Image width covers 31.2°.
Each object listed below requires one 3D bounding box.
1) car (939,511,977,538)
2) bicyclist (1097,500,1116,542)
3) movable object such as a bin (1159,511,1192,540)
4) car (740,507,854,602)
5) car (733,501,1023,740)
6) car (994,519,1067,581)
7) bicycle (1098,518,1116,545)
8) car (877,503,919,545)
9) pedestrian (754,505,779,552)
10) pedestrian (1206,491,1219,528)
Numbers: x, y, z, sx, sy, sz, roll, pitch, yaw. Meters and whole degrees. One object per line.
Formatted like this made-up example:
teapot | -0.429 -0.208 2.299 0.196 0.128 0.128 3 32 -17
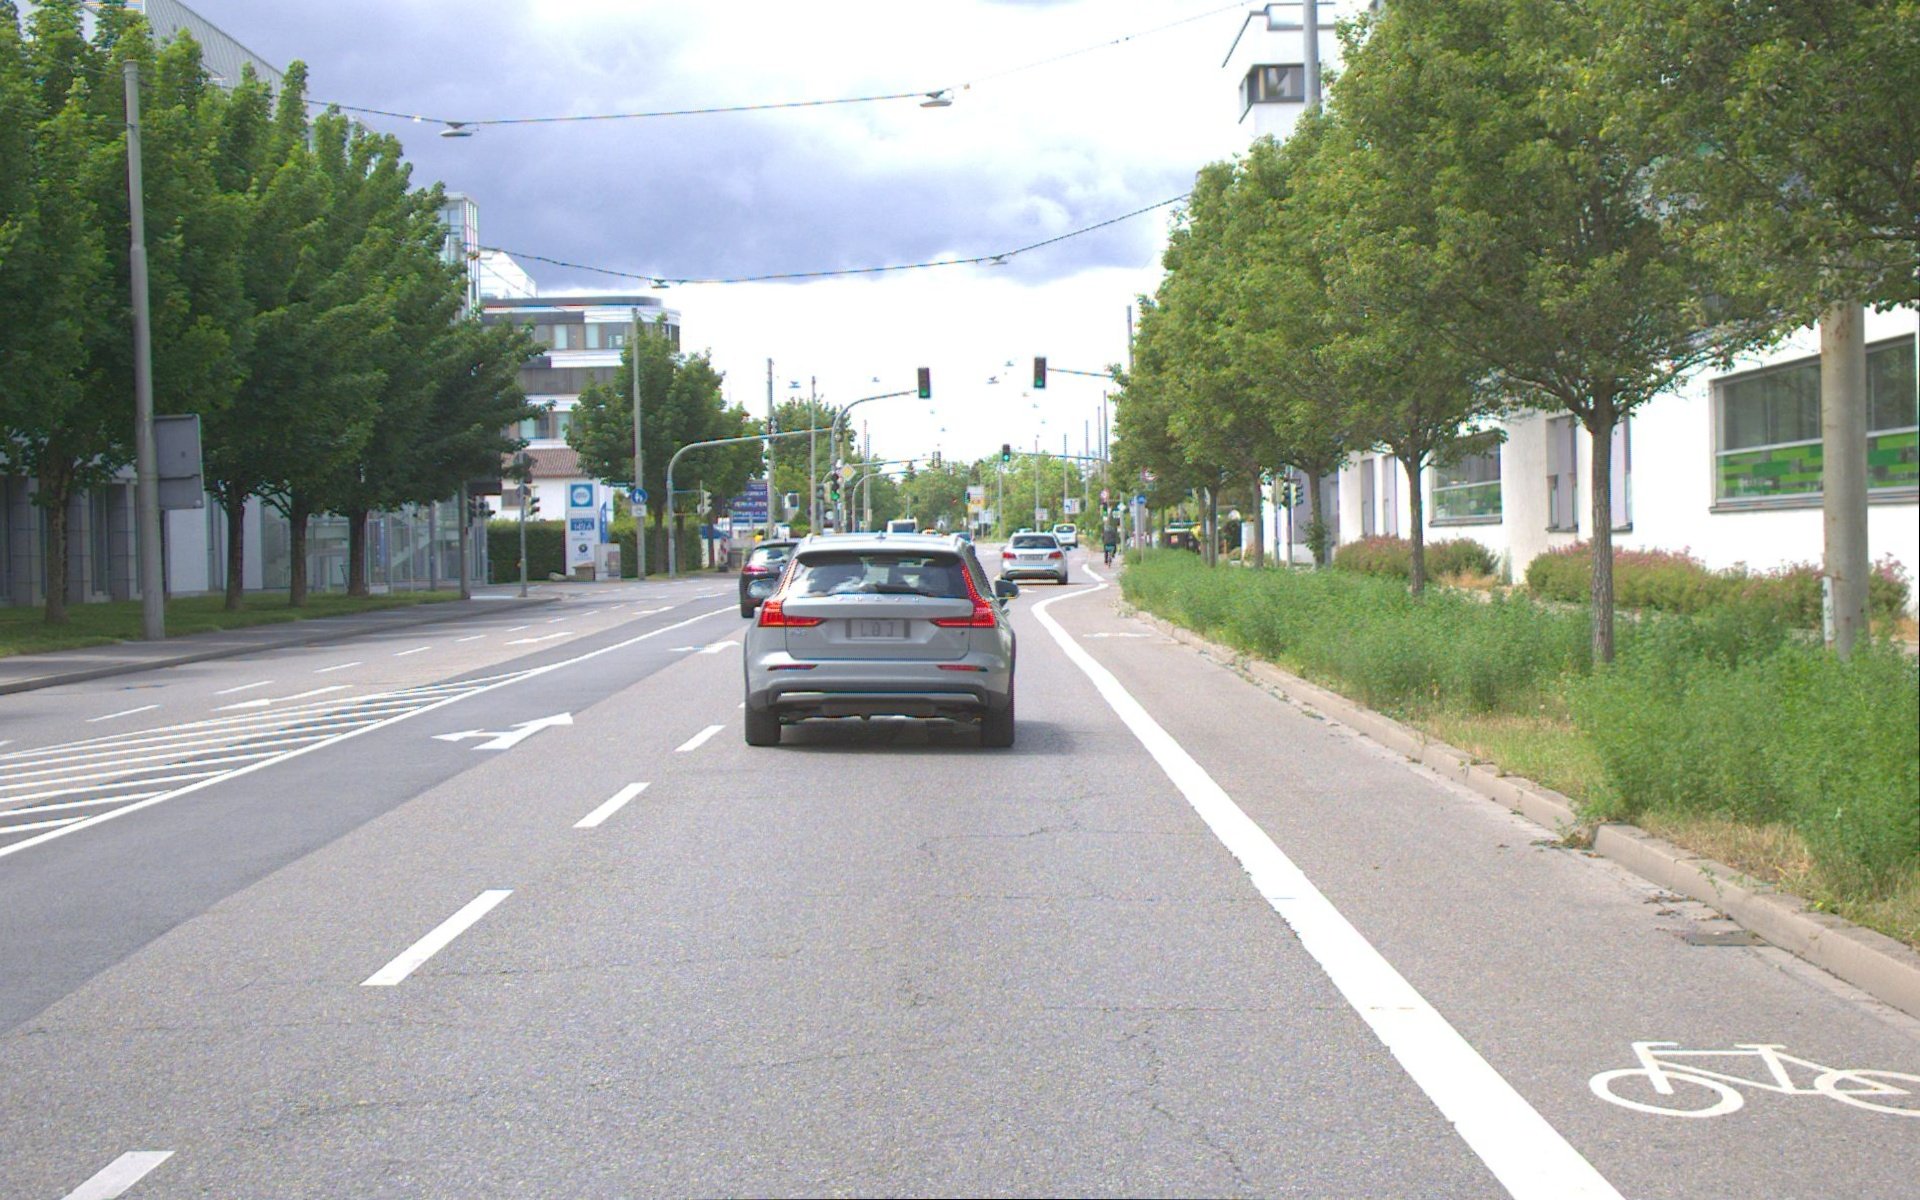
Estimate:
car | -0.101 -4.587 209.171 1.885 1.547 4.539 -2 0 4
bicyclist | 6.088 -3.287 143.000 0.638 1.669 0.890 -5 1 2
movable object such as a bin | 10.546 -3.635 168.188 1.320 1.356 1.250 -1 0 18
car | -3.030 -0.848 64.618 1.993 1.711 4.000 1 1 -1
car | -0.563 0.115 24.650 1.895 1.549 4.000 1 1 -1
car | 1.979 -1.408 96.884 1.993 1.689 4.000 1 1 1
bicycle | 6.124 -2.840 143.001 0.638 1.059 1.977 -5 1 2
car | -3.839 -4.719 213.799 2.143 2.463 6.073 -3 1 2
pedestrian | -8.385 -3.109 148.898 0.726 2.007 0.808 1 1 44
pedestrian | 12.222 -4.367 166.335 0.507 1.759 0.500 1 0 18
